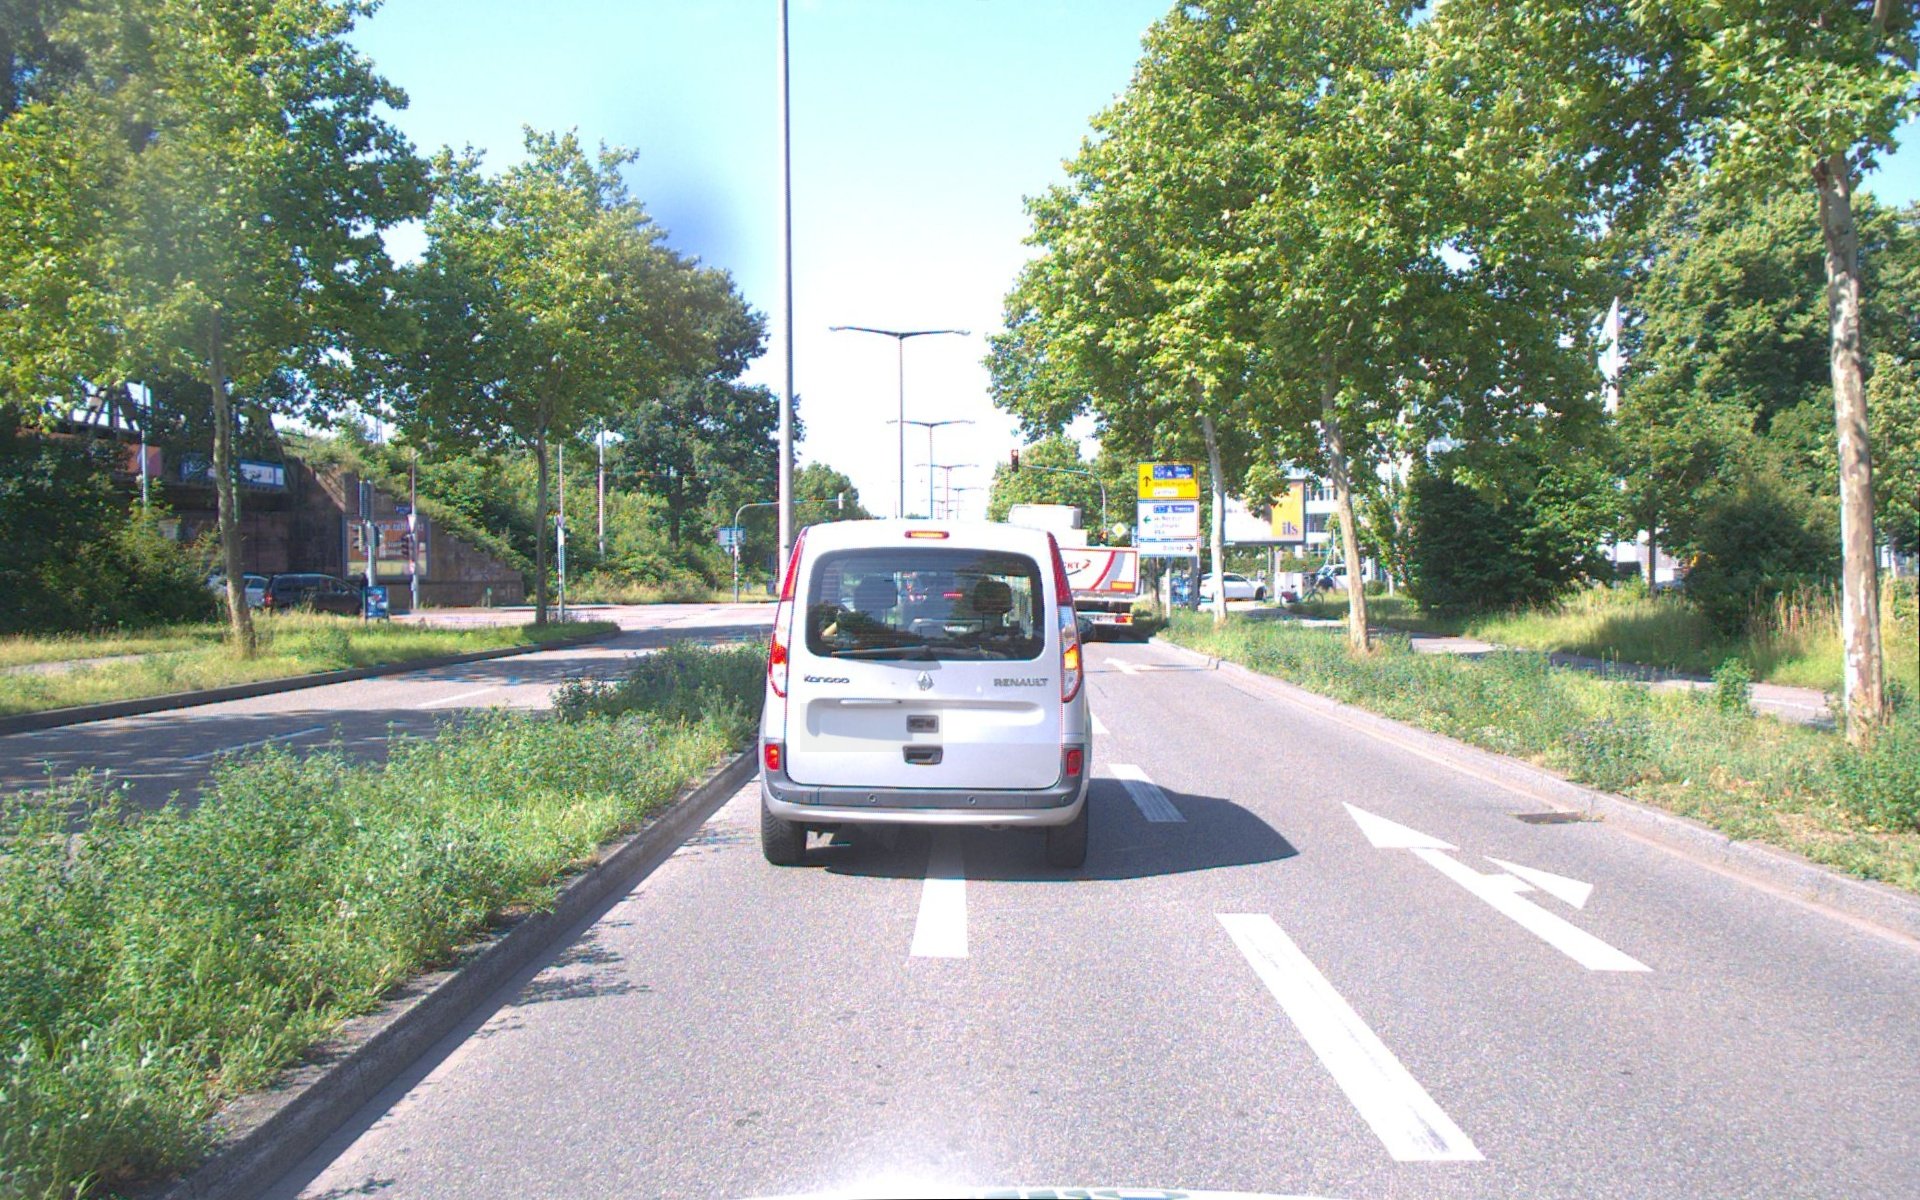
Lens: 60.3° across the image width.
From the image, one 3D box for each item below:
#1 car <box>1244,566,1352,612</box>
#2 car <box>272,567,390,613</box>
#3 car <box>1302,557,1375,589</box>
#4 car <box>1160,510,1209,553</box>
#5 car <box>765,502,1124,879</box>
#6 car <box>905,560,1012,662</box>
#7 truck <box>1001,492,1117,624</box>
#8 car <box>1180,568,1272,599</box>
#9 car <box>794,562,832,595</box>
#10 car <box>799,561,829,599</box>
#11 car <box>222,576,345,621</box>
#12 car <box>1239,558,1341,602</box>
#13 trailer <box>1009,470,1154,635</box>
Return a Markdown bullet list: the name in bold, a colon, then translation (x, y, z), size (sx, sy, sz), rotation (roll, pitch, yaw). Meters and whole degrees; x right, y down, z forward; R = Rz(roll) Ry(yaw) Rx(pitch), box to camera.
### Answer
- **car**: translation (13.040, -0.419, 63.889), size (3.903, 1.691, 1.724), rotation (1, 0, 5)
- **car**: translation (-22.848, -0.370, 60.085), size (3.933, 1.601, 1.925), rotation (1, 1, -23)
- **car**: translation (25.602, -1.830, 111.852), size (4.455, 2.049, 1.990), rotation (1, 0, -19)
- **car**: translation (10.222, -3.115, 75.463), size (1.778, 1.826, 3.444), rotation (1, 1, 1)
- **car**: translation (-0.095, 0.417, 9.982), size (1.713, 1.803, 3.949), rotation (1, 1, -1)
- **car**: translation (-0.082, 0.167, 30.382), size (1.773, 1.713, 3.998), rotation (1, 1, -3)
- **truck**: translation (2.988, -1.277, 52.082), size (3.009, 3.823, 7.475), rotation (1, 1, -1)
- **car**: translation (13.145, -0.804, 81.772), size (4.390, 1.452, 1.714), rotation (1, 1, -29)
- **car**: translation (-9.171, -1.324, 103.548), size (1.953, 1.924, 4.987), rotation (-2, 1, -1)
- **car**: translation (-10.673, -1.428, 120.463), size (2.019, 2.659, 5.862), rotation (1, 1, -6)
- **car**: translation (-25.807, -0.047, 63.108), size (4.063, 1.655, 1.978), rotation (0, 1, -33)
- **car**: translation (13.429, -0.819, 67.523), size (3.903, 1.691, 1.724), rotation (1, 0, 5)
- **trailer**: translation (3.014, -1.164, 44.688), size (2.954, 3.806, 12.240), rotation (1, 1, 0)
